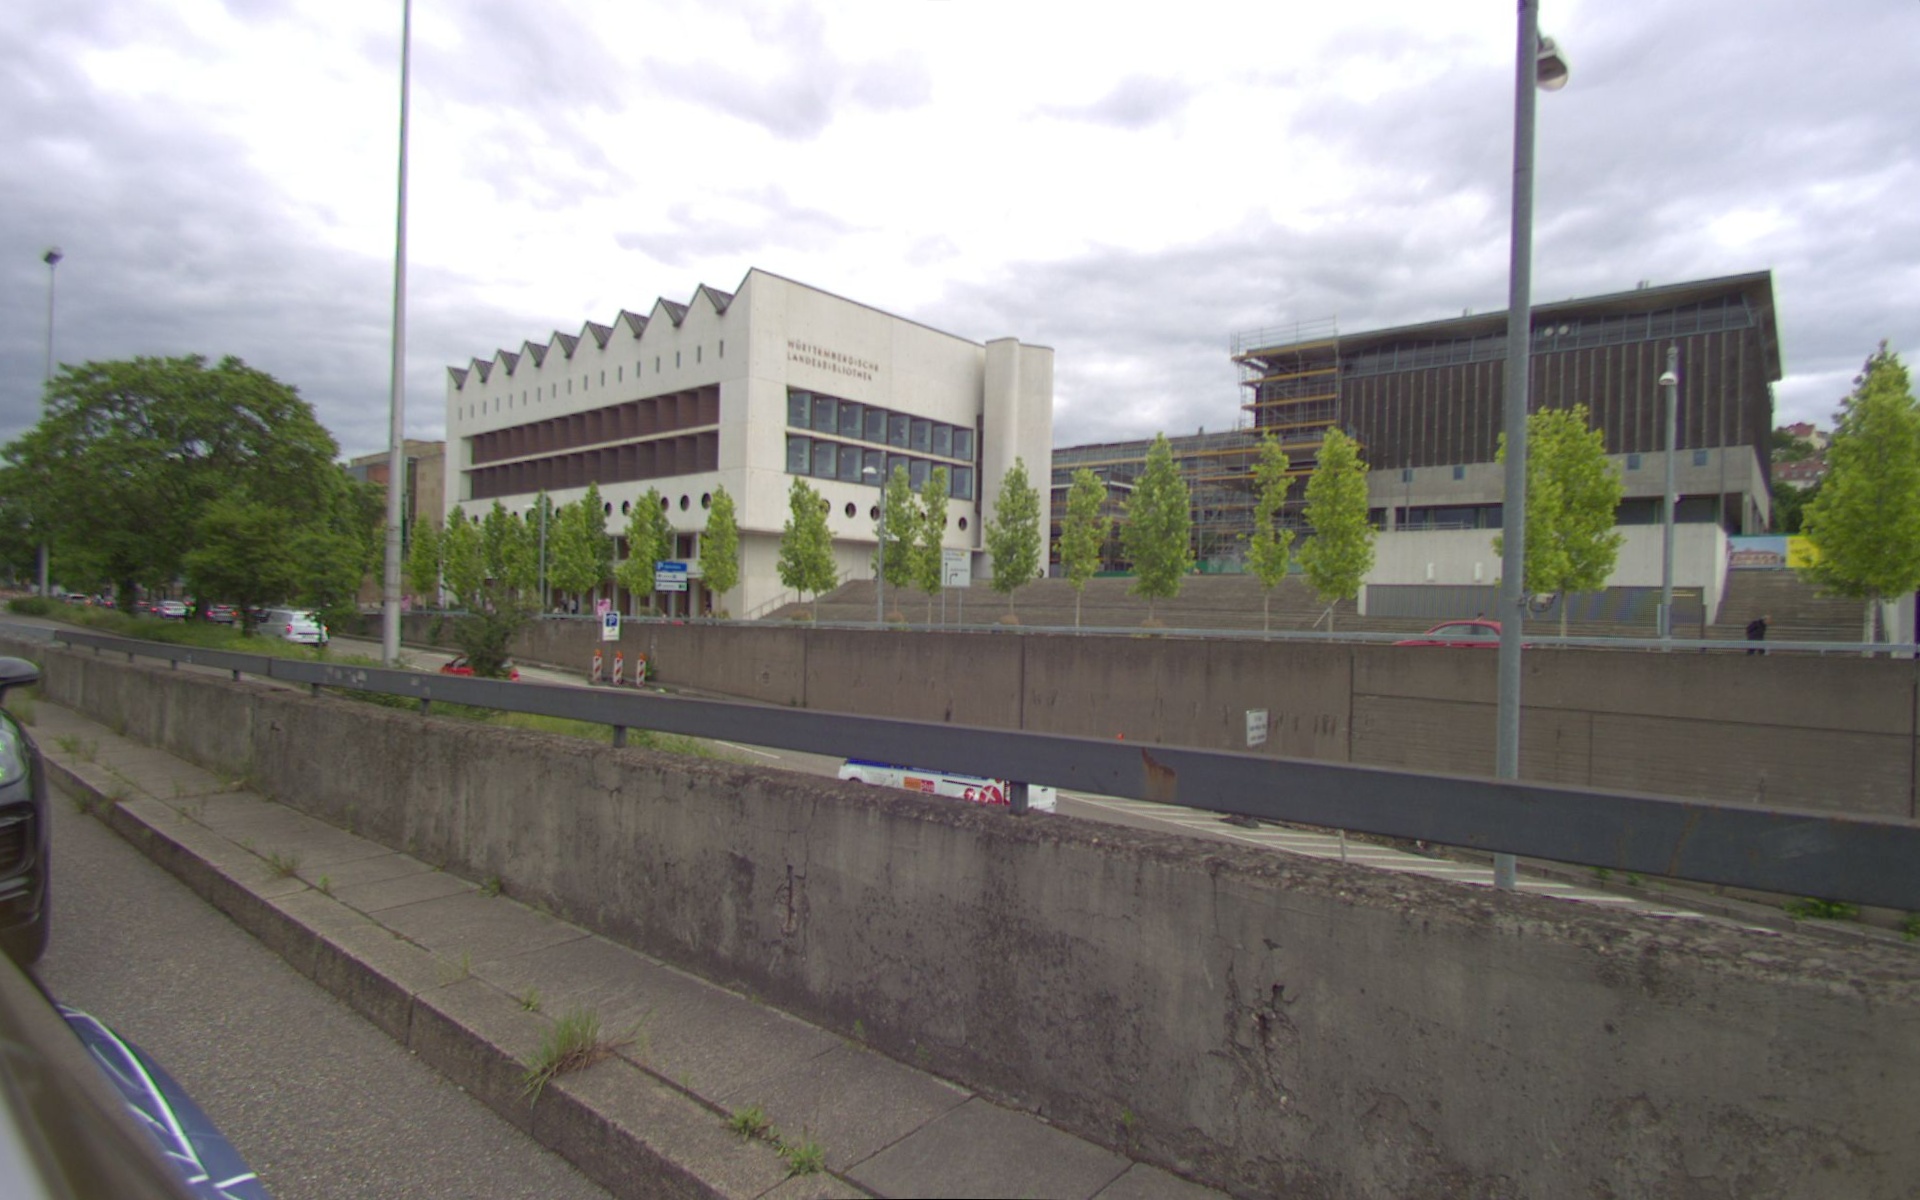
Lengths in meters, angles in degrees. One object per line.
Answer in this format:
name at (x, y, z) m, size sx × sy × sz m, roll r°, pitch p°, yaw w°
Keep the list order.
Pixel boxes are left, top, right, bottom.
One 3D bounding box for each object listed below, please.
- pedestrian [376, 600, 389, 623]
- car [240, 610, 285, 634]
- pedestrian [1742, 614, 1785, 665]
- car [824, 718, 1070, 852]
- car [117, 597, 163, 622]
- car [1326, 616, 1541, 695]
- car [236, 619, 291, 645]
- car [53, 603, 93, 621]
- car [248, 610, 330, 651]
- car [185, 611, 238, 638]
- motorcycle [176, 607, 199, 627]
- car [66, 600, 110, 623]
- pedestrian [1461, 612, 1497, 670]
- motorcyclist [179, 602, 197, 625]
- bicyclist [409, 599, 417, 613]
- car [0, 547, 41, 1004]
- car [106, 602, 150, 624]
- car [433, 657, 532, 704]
pedestrian at (-51.544, 0.997, 90.359) m, size 1.016 × 2.029 × 0.712 m, roll 1°, pitch 1°, yaw 42°
car at (-56.336, 1.803, 81.687) m, size 3.998 × 1.776 × 1.973 m, roll 0°, pitch -3°, yaw 41°
pedestrian at (26.247, 1.286, 33.068) m, size 0.728 × 1.655 × 0.795 m, roll 0°, pitch -2°, yaw -21°
car at (-0.377, 3.788, 21.602) m, size 5.112 × 2.029 × 2.195 m, roll -1°, pitch -2°, yaw 41°
car at (-57.982, 0.669, 71.542) m, size 4.144 × 1.500 × 1.757 m, roll 3°, pitch 0°, yaw 40°
car at (12.268, 1.369, 26.378) m, size 4.729 × 1.869 × 2.154 m, roll -1°, pitch -1°, yaw 38°
car at (-43.797, 2.017, 63.595) m, size 4.003 × 1.338 × 1.787 m, roll 4°, pitch 0°, yaw 40°
car at (-76.497, 1.047, 87.284) m, size 3.998 × 1.409 × 1.973 m, roll 0°, pitch -4°, yaw 41°
car at (-34.477, 1.544, 51.953) m, size 5.246 × 1.651 × 1.973 m, roll 2°, pitch -5°, yaw 40°
car at (-52.833, 1.733, 71.417) m, size 4.386 × 1.624 × 1.852 m, roll 4°, pitch 0°, yaw 38°
motorcycle at (-49.562, 1.077, 64.935) m, size 2.050 × 1.106 × 0.678 m, roll 3°, pitch -2°, yaw 41°
car at (-70.295, 0.940, 81.526) m, size 4.515 × 1.687 × 1.973 m, roll 0°, pitch -4°, yaw 41°
pedestrian at (18.516, 1.449, 36.119) m, size 0.728 × 2.029 × 0.795 m, roll 0°, pitch -2°, yaw -17°
motorcyclist at (-49.583, 0.872, 64.976) m, size 0.718 × 1.362 × 0.662 m, roll 3°, pitch -3°, yaw 41°
bicyclist at (-48.532, 0.544, 89.736) m, size 0.643 × 1.169 × 0.398 m, roll 1°, pitch 1°, yaw 39°
car at (-5.644, 0.609, 4.571) m, size 4.733 × 1.602 × 1.879 m, roll 0°, pitch 0°, yaw 44°
car at (-73.033, 1.171, 88.830) m, size 4.514 × 1.657 × 2.133 m, roll 2°, pitch -2°, yaw 40°
car at (-17.740, 2.927, 37.543) m, size 3.999 × 1.497 × 1.972 m, roll -1°, pitch -2°, yaw 42°
